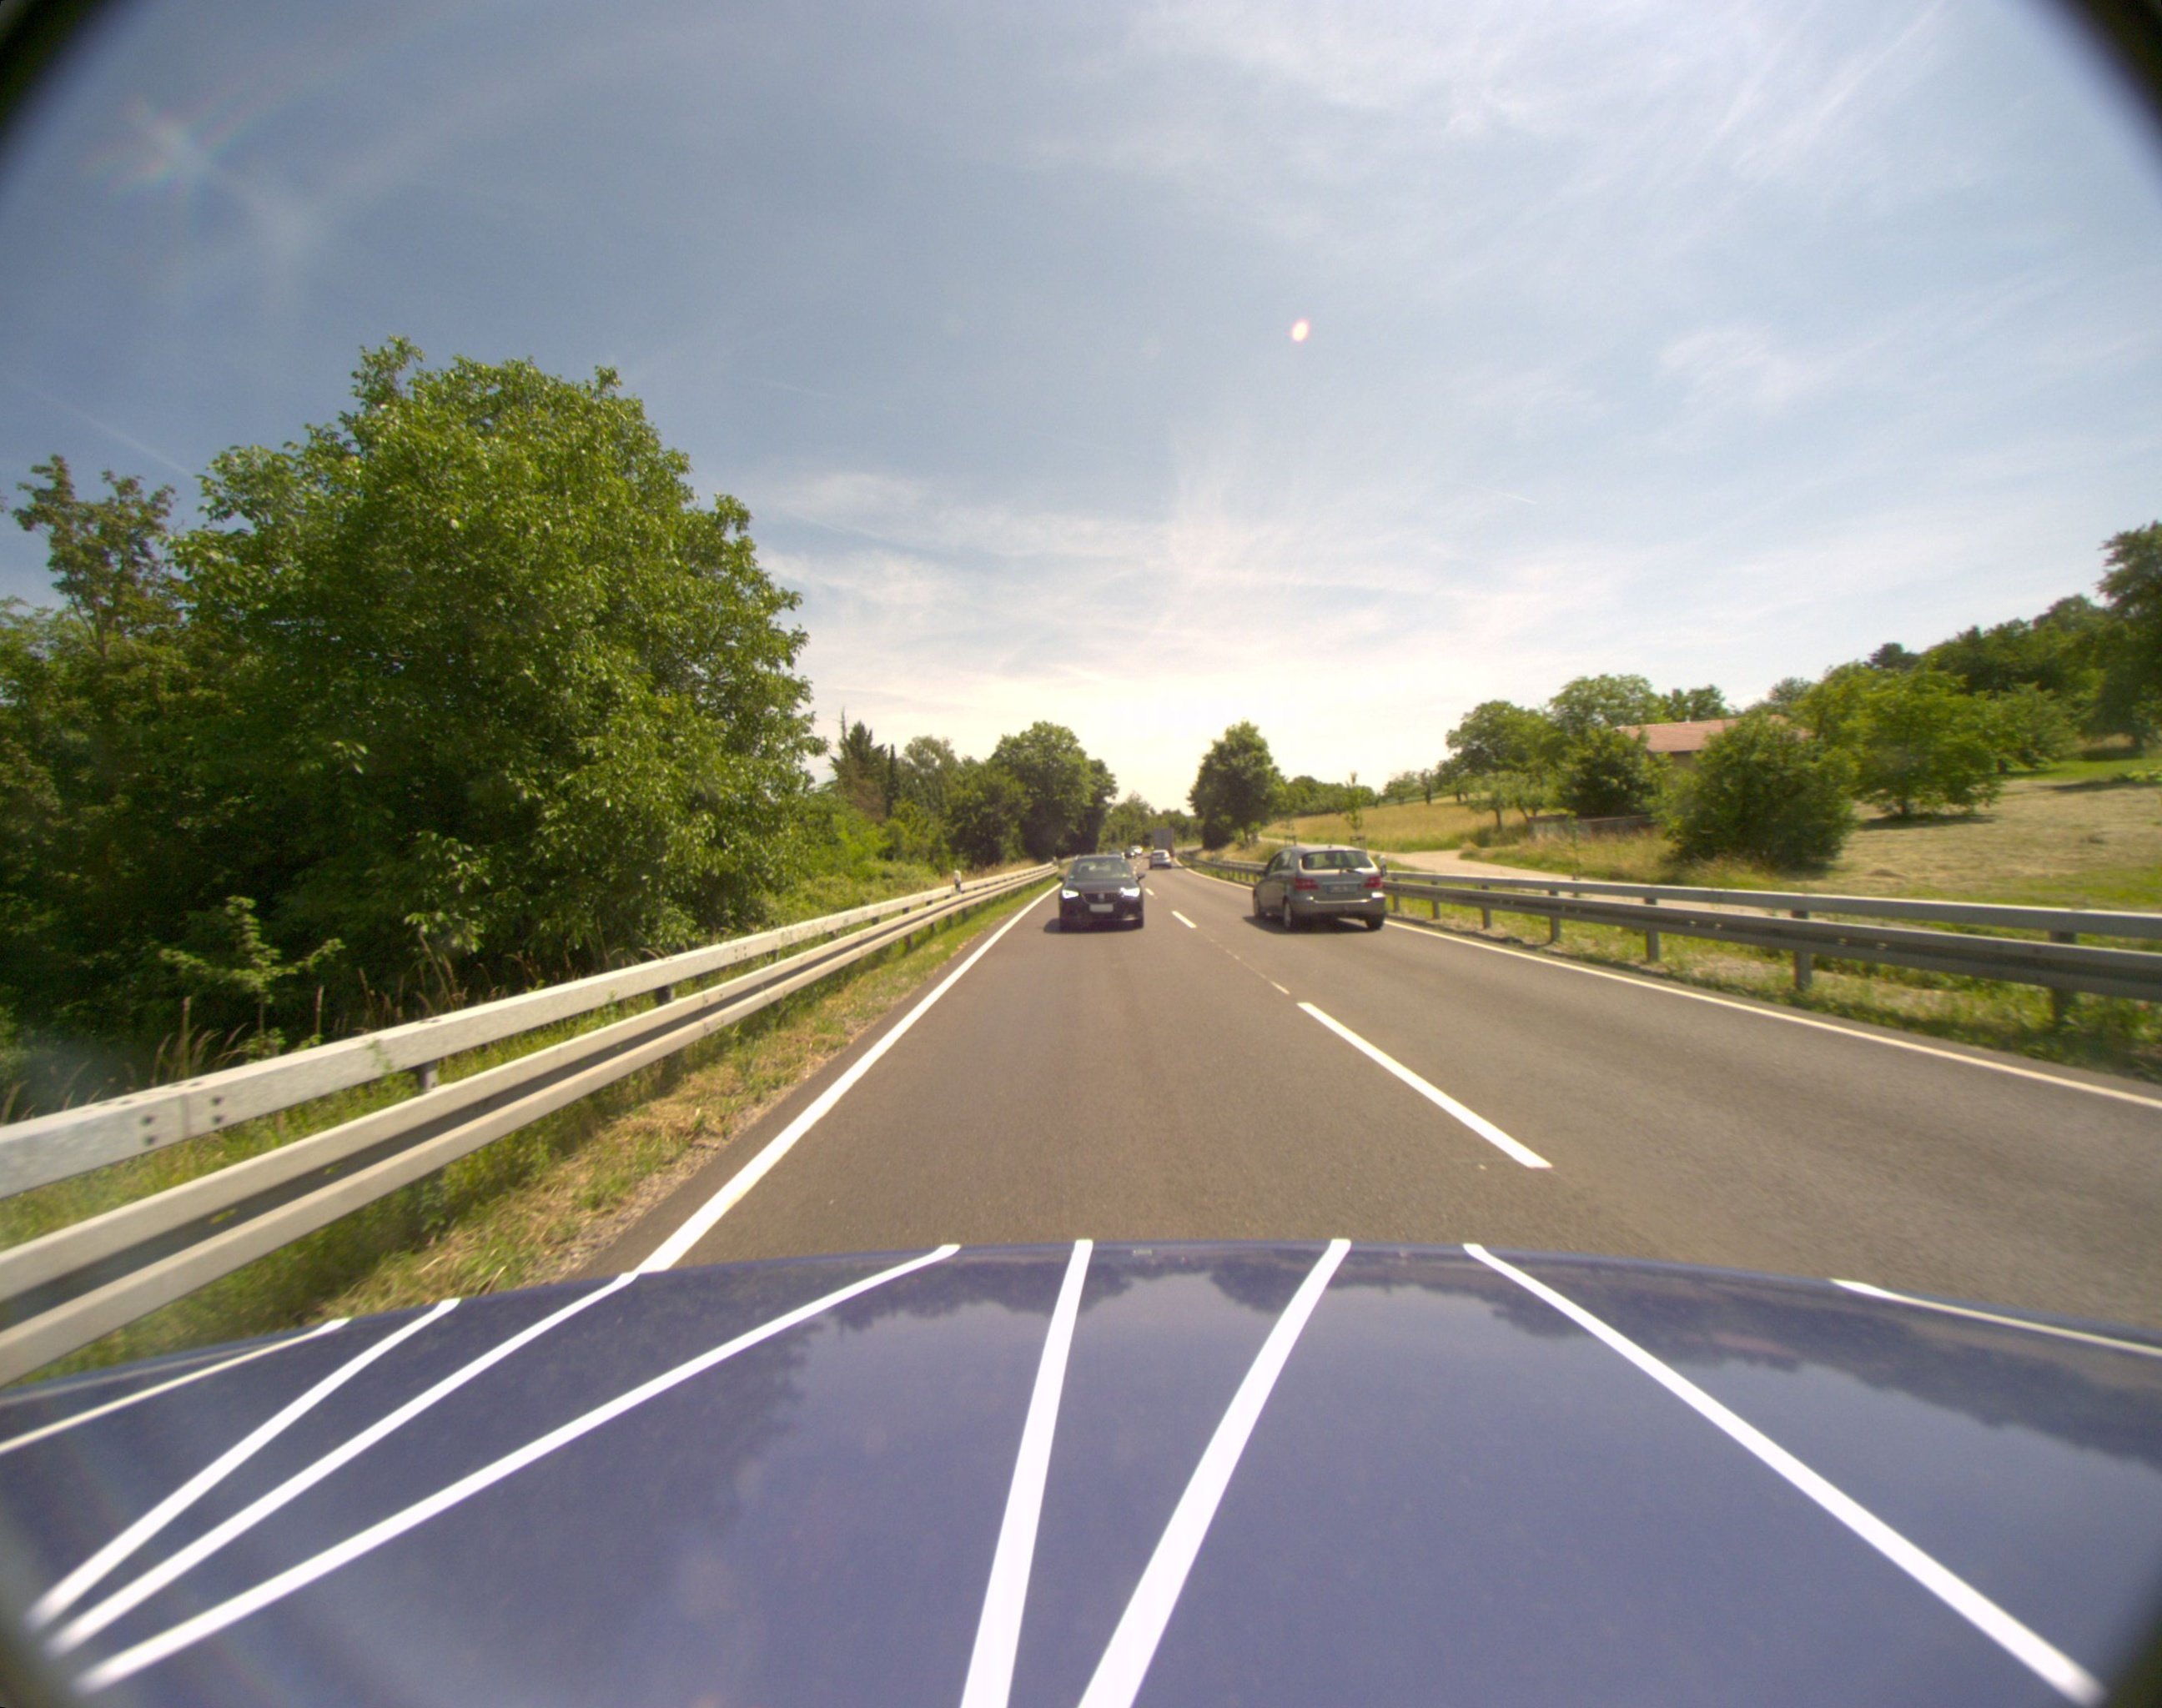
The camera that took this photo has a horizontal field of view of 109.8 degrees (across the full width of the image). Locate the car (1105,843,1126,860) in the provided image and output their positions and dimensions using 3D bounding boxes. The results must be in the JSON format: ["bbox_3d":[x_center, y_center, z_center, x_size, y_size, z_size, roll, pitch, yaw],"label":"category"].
[{"bbox_3d":[3.562,-0.249,78.266,1.882,1.698,4.002,-1,0,6],"label":"car"}]

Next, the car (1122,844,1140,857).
[{"bbox_3d":[6.764,-0.424,102.531,1.882,1.698,4.003,-1,0,10],"label":"car"}]

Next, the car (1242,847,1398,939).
[{"bbox_3d":[4.702,0.674,15.665,1.811,1.580,4.379,-2,1,0],"label":"car"}]

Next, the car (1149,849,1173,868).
[{"bbox_3d":[6.270,0.339,59.776,1.650,1.432,4.159,-1,0,4],"label":"car"}]

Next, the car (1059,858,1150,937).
[{"bbox_3d":[0.559,0.856,16.815,1.737,1.467,4.001,-1,0,3],"label":"car"}]

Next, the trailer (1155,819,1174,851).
[{"bbox_3d":[11.801,-2.637,107.471,2.450,4.160,14.019,-1,1,6],"label":"trailer"}]

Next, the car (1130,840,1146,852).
[{"bbox_3d":[9.211,-1.303,122.281,1.997,2.002,4.003,-1,1,11],"label":"car"}]
